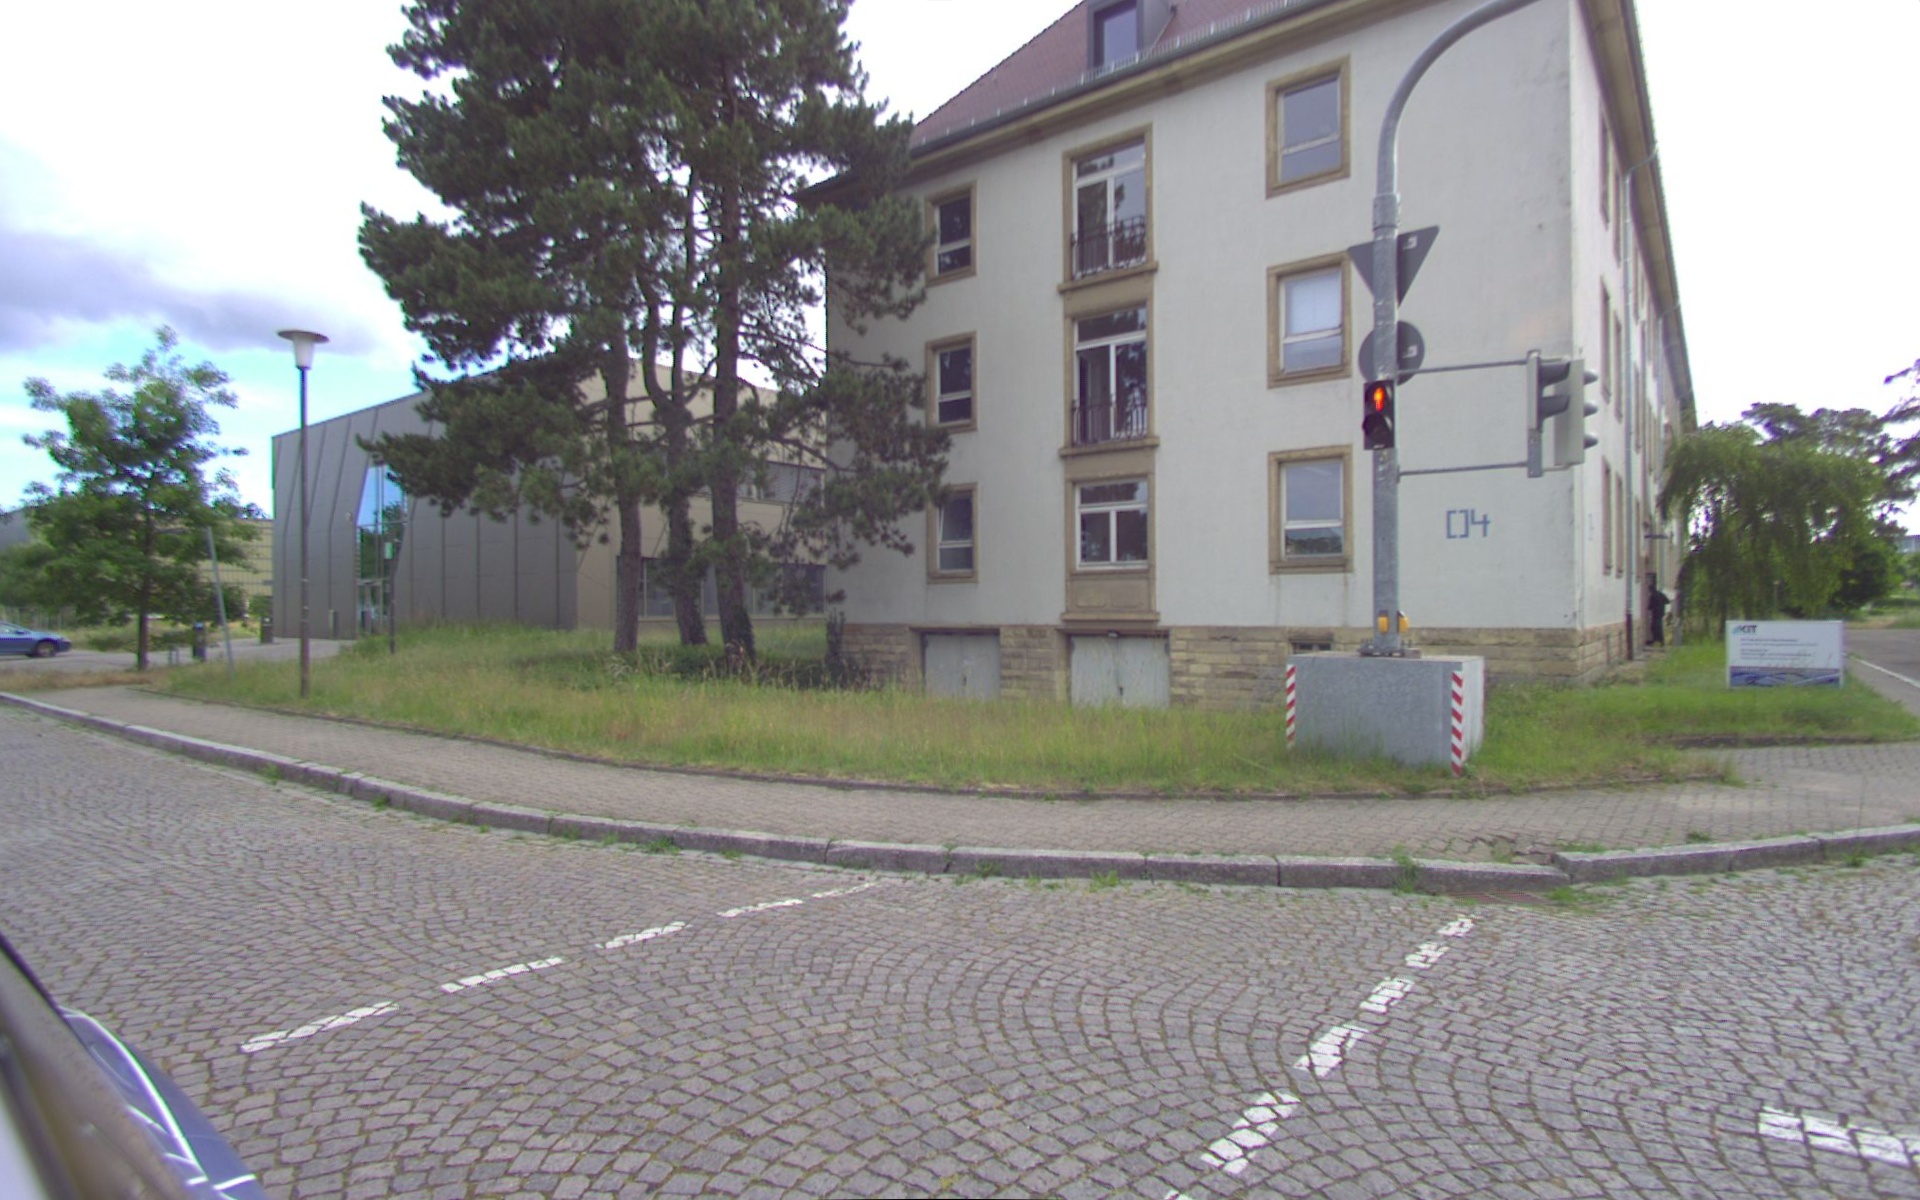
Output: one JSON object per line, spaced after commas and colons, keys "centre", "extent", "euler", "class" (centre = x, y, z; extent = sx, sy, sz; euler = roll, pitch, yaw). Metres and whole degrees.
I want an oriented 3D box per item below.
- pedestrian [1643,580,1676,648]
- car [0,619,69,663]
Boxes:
{"centre": [20.119, 0.402, 29.107], "extent": [0.682, 1.926, 0.788], "euler": [-1, -1, 42], "class": "pedestrian"}
{"centre": [-34.717, 1.508, 35.903], "extent": [1.630, 1.480, 4.377], "euler": [-1, 1, 35], "class": "car"}
